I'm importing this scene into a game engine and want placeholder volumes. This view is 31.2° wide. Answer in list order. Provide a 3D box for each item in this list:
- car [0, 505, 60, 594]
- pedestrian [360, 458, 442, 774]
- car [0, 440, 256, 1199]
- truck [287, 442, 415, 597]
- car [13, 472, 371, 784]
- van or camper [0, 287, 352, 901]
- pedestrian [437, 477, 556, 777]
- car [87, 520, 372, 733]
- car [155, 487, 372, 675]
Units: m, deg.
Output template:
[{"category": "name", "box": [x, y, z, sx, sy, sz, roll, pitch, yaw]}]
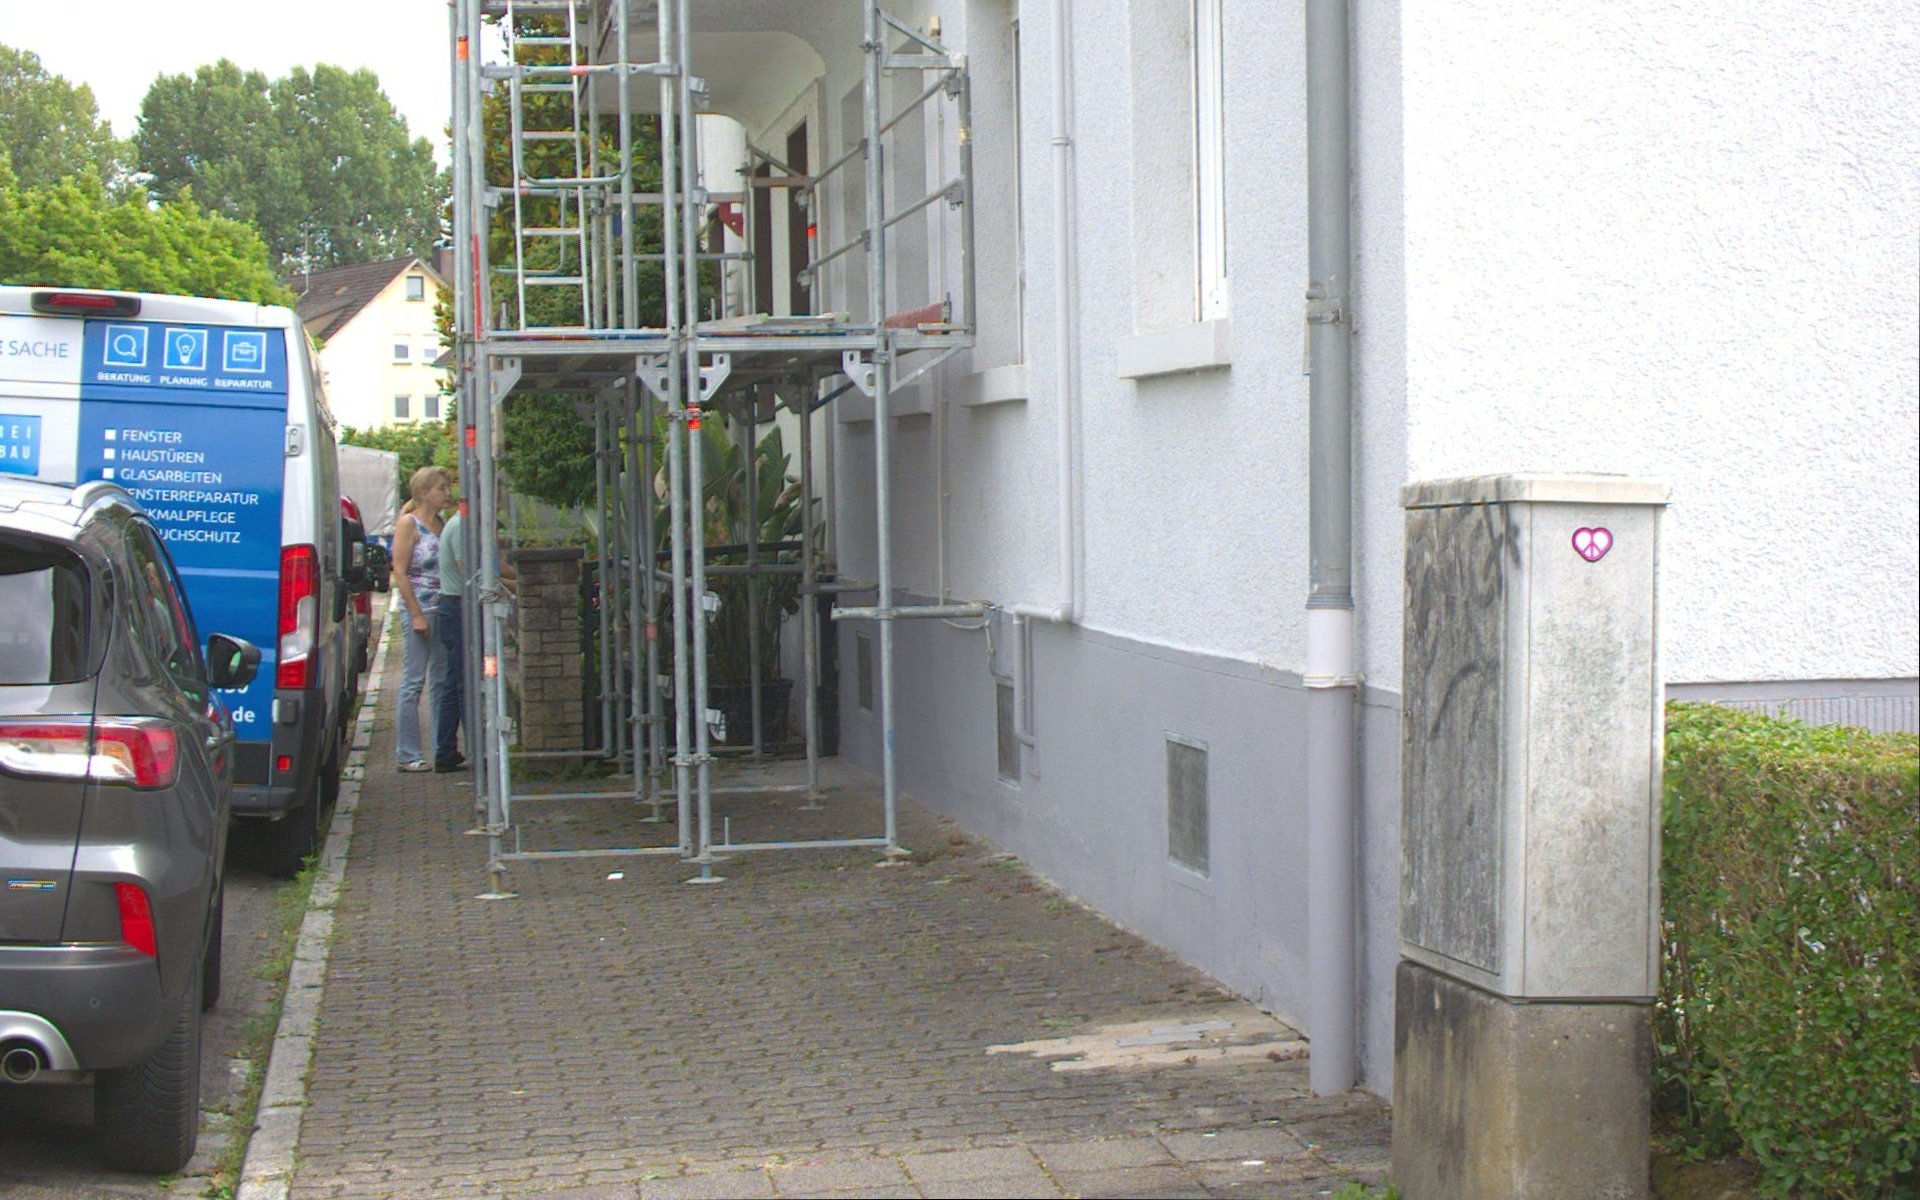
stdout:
[{"category": "car", "box": [-20.298, -0.975, 69.403, 3.986, 1.766, 1.871, -2, 1, -12]}, {"category": "pedestrian", "box": [-3.156, 0.086, 19.433, 0.407, 1.756, 0.513, -2, 0, -9]}, {"category": "car", "box": [-2.940, 0.480, 9.232, 1.993, 1.721, 4.343, -2, 2, -11]}, {"category": "truck", "box": [-11.046, -1.482, 62.192, 2.129, 2.648, 4.586, -2, 2, -11]}, {"category": "car", "box": [-4.896, 0.086, 22.188, 1.993, 1.766, 4.343, -2, 2, -11]}, {"category": "van or camper", "box": [-4.062, -0.101, 16.331, 2.191, 2.450, 5.056, -2, 2, -9]}, {"category": "pedestrian", "box": [-2.581, 0.143, 19.129, 0.601, 1.623, 0.625, -2, 1, -8]}, {"category": "car", "box": [-5.743, 0.140, 27.183, 1.993, 1.450, 4.343, -2, 2, -11]}, {"category": "car", "box": [-7.097, -0.256, 35.064, 1.993, 1.743, 4.343, -2, 2, -11]}]
